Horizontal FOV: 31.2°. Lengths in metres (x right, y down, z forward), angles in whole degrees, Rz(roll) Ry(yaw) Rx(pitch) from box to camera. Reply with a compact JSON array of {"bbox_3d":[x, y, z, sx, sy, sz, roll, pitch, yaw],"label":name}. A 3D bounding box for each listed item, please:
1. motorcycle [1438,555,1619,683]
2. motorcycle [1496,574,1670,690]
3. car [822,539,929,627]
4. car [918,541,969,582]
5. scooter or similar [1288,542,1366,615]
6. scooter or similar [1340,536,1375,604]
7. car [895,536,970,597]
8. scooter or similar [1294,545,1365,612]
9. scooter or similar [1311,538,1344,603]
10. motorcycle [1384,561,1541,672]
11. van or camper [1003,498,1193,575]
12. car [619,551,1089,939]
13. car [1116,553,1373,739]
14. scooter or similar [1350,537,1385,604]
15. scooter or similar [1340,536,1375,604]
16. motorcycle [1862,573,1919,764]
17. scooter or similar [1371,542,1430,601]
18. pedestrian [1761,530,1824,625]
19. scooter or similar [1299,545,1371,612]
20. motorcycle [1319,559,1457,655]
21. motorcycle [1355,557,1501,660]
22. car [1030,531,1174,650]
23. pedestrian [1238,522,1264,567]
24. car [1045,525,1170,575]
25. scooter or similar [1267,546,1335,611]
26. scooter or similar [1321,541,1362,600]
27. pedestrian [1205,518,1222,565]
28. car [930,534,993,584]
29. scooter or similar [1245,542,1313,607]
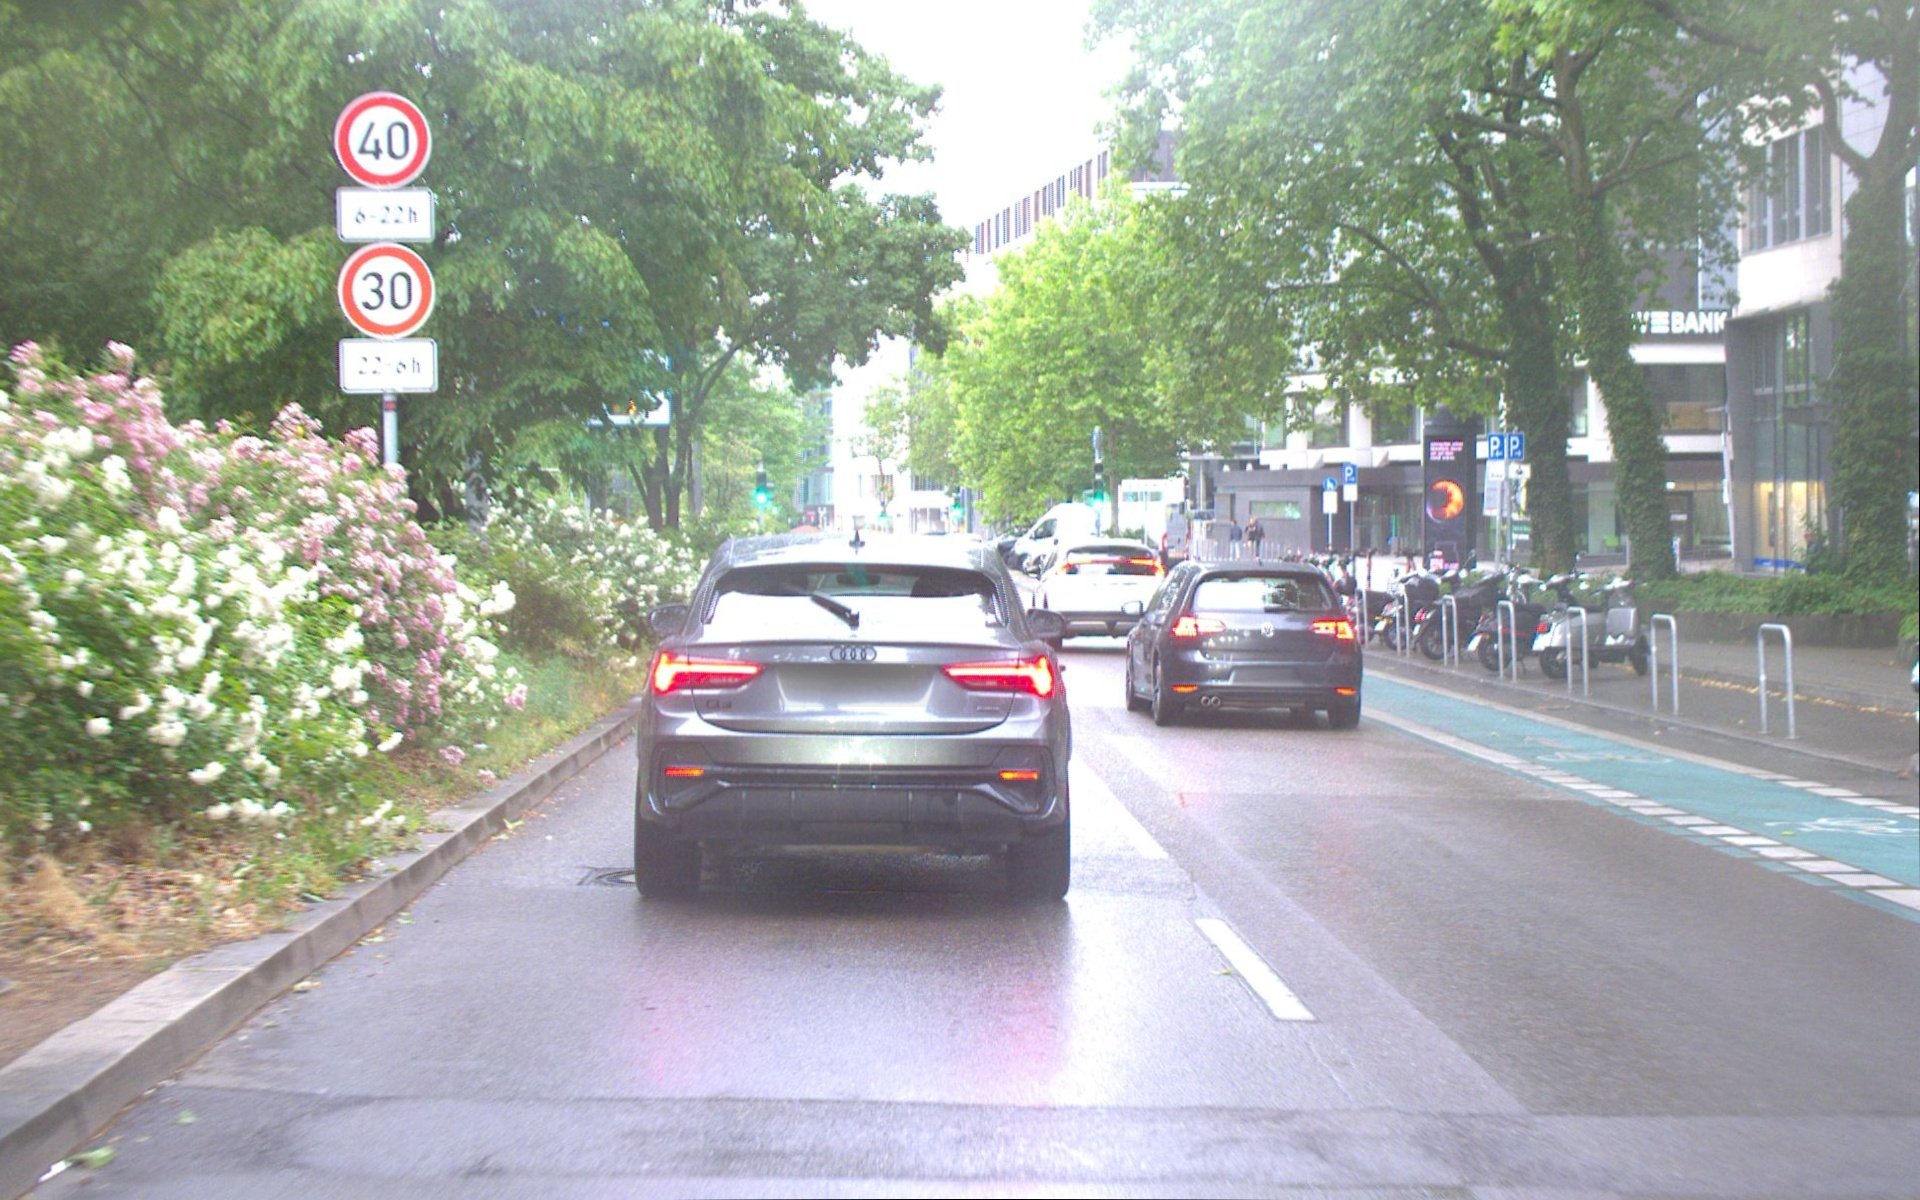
[{"bbox_3d":[6.859,0.217,41.481,2.053,1.423,0.729,-2,3,-22],"label":"motorcycle"},{"bbox_3d":[7.102,0.359,39.158,2.054,1.208,0.685,-3,1,-37],"label":"motorcycle"},{"bbox_3d":[-1.530,-0.330,62.197,1.849,1.518,4.039,0,1,-1],"label":"car"},{"bbox_3d":[-0.637,-1.485,131.459,1.849,1.518,4.039,0,1,-1],"label":"car"},{"bbox_3d":[6.707,-0.401,62.801,1.289,1.274,0.537,-2,3,-12],"label":"scooter or similar"},{"bbox_3d":[7.719,-0.591,66.829,0.487,1.255,1.294,-1,3,-1],"label":"scooter or similar"},{"bbox_3d":[-0.736,-0.880,88.557,1.849,1.518,4.039,0,1,-1],"label":"car"},{"bbox_3d":[7.057,-0.411,65.690,1.289,1.231,0.489,-1,2,1],"label":"scooter or similar"},{"bbox_3d":[7.453,-0.610,69.762,0.487,1.255,1.294,-1,3,-1],"label":"scooter or similar"},{"bbox_3d":[6.712,0.209,45.875,1.955,1.369,0.729,-2,3,-22],"label":"motorcycle"},{"bbox_3d":[4.642,-2.134,115.818,6.074,2.549,2.102,0,1,26],"label":"van or camper"},{"bbox_3d":[-0.497,0.548,15.638,1.849,1.518,4.039,0,1,-2],"label":"car"},{"bbox_3d":[2.463,0.357,30.689,1.849,1.518,4.039,0,1,-1],"label":"car"},{"bbox_3d":[8.067,-0.592,68.067,0.487,1.255,1.294,-1,3,-1],"label":"scooter or similar"},{"bbox_3d":[7.719,-0.591,66.829,0.487,1.255,1.294,-1,3,-1],"label":"scooter or similar"},{"bbox_3d":[7.520,0.466,25.718,0.684,1.362,1.941,-3,0,39],"label":"motorcycle"},{"bbox_3d":[9.013,-0.580,70.419,0.487,1.193,1.293,0,0,-32],"label":"scooter or similar"},{"bbox_3d":[16.342,-0.438,67.510,0.917,1.844,1.277,1,0,1],"label":"pedestrian"},{"bbox_3d":[7.078,-0.407,64.945,1.289,1.231,0.489,-1,2,1],"label":"scooter or similar"},{"bbox_3d":[6.545,0.095,52.578,1.955,1.369,0.729,-2,3,-17],"label":"motorcycle"},{"bbox_3d":[6.711,0.114,49.306,1.955,1.369,0.729,-2,3,-22],"label":"motorcycle"},{"bbox_3d":[2.048,-0.171,50.612,1.849,1.663,4.039,0,1,-1],"label":"car"},{"bbox_3d":[11.019,-2.100,130.188,0.805,1.690,1.187,1,1,-4],"label":"pedestrian"},{"bbox_3d":[4.705,-1.616,109.842,3.652,1.542,1.713,1,1,18],"label":"car"},{"bbox_3d":[6.804,-0.430,68.625,1.290,1.255,0.489,-1,3,11],"label":"scooter or similar"},{"bbox_3d":[7.836,-0.608,70.624,0.487,1.193,1.294,0,0,-11],"label":"scooter or similar"},{"bbox_3d":[9.920,-2.289,134.642,0.553,1.799,0.762,1,0,-4],"label":"pedestrian"},{"bbox_3d":[0.021,-1.298,107.563,1.849,1.518,4.039,0,1,-1],"label":"car"},{"bbox_3d":[6.415,-0.512,69.149,1.290,1.255,0.489,-1,3,11],"label":"scooter or similar"}]
